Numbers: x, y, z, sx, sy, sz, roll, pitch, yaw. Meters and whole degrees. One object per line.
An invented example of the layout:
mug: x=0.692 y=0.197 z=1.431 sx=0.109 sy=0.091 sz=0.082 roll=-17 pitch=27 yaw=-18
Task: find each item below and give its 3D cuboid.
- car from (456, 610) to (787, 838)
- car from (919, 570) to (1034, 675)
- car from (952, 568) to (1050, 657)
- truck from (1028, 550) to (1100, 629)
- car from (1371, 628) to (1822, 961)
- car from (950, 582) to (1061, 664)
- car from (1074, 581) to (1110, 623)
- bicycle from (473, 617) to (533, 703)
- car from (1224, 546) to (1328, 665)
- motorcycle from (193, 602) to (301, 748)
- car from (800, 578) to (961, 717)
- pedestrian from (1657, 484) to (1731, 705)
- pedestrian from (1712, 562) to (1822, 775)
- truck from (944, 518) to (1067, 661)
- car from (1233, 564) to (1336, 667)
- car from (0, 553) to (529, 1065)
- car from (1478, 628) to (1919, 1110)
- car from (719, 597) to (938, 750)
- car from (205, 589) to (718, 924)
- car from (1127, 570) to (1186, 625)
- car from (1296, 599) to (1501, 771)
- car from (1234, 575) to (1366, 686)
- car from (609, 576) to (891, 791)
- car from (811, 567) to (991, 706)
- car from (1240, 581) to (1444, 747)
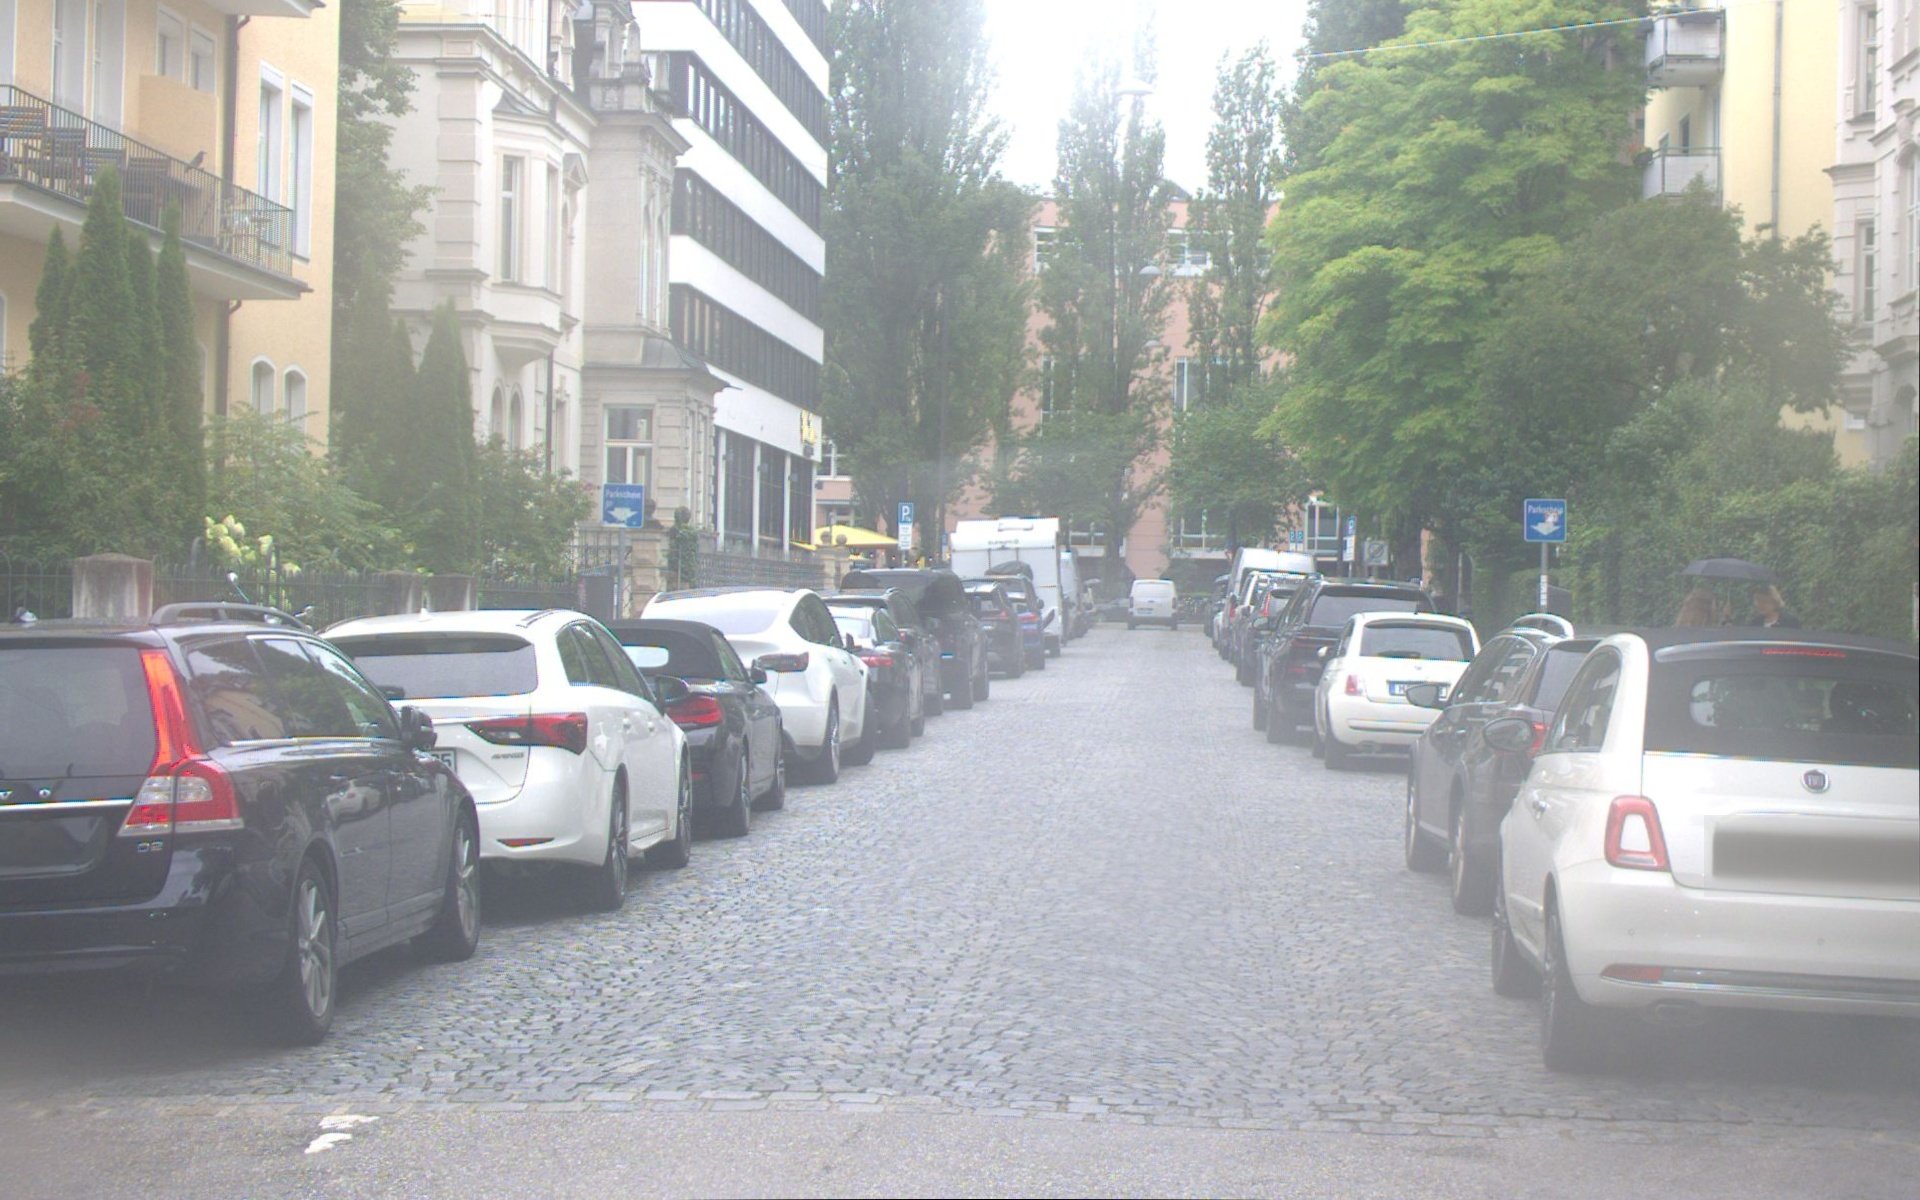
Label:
car: x=-2.194 y=0.769 z=23.352 sx=1.773 sy=1.355 sz=4.391 roll=2 pitch=0 yaw=0
car: x=0.329 y=0.389 z=59.854 sx=1.774 sy=1.712 sz=4.390 roll=2 pitch=0 yaw=3
car: x=0.859 y=0.234 z=70.004 sx=1.894 sy=1.745 sz=4.168 roll=0 pitch=0 yaw=2
truck: x=3.201 y=-0.306 z=105.010 sx=1.994 sy=2.339 sz=4.067 roll=2 pitch=0 yaw=4
car: x=3.274 y=0.934 z=18.515 sx=1.648 sy=1.417 sz=4.632 roll=5 pitch=0 yaw=2
car: x=0.885 y=0.427 z=65.053 sx=1.940 sy=1.454 sz=4.057 roll=2 pitch=0 yaw=3
car: x=5.038 y=0.082 z=130.981 sx=1.277 sy=1.536 sz=3.118 roll=2 pitch=0 yaw=4
bicycle: x=-5.446 y=0.707 z=41.041 sx=0.352 sy=0.999 sz=1.572 roll=2 pitch=0 yaw=5
car: x=7.053 y=0.078 z=77.247 sx=1.895 sy=2.418 sz=5.610 roll=5 pitch=1 yaw=3
motorcycle: x=-6.032 y=0.619 z=29.140 sx=0.491 sy=1.190 sz=1.579 roll=1 pitch=0 yaw=3
car: x=-0.922 y=0.565 z=41.743 sx=1.580 sy=1.584 sz=4.055 roll=-1 pitch=-1 yaw=4
pedestrian: x=6.244 y=-0.048 z=29.253 sx=0.576 sy=1.844 sz=0.681 roll=1 pitch=0 yaw=11
pedestrian: x=6.951 y=0.586 z=29.630 sx=0.628 sy=1.802 sz=0.660 roll=2 pitch=0 yaw=-19
truck: x=1.064 y=-0.248 z=76.405 sx=2.508 sy=3.021 sz=6.384 roll=-1 pitch=0 yaw=2
car: x=6.726 y=0.314 z=71.603 sx=1.800 sy=1.943 sz=4.860 roll=4 pitch=0 yaw=3
car: x=-2.976 y=0.652 z=13.187 sx=1.852 sy=1.581 sz=4.748 roll=2 pitch=0 yaw=2
car: x=2.799 y=0.854 z=12.596 sx=1.502 sy=1.466 sz=3.794 roll=1 pitch=0 yaw=5
car: x=-1.283 y=0.714 z=35.238 sx=1.774 sy=1.424 sz=4.390 roll=2 pitch=0 yaw=4
car: x=-2.453 y=0.730 z=18.041 sx=1.774 sy=1.531 sz=4.540 roll=0 pitch=0 yaw=3
car: x=7.179 y=-0.075 z=125.195 sx=1.997 sy=1.929 sz=3.999 roll=1 pitch=0 yaw=5
car: x=4.152 y=0.773 z=33.010 sx=1.630 sy=1.464 sz=3.658 roll=3 pitch=0 yaw=3
car: x=5.774 y=0.509 z=58.855 sx=1.963 sy=1.753 sz=4.953 roll=2 pitch=0 yaw=3
car: x=-1.703 y=0.667 z=29.314 sx=1.774 sy=1.642 sz=4.390 roll=2 pitch=0 yaw=4
car: x=-0.742 y=0.450 z=46.639 sx=1.983 sy=1.731 sz=4.722 roll=2 pitch=1 yaw=4
car: x=4.172 y=0.669 z=38.309 sx=1.875 sy=1.667 sz=5.490 roll=2 pitch=0 yaw=3
